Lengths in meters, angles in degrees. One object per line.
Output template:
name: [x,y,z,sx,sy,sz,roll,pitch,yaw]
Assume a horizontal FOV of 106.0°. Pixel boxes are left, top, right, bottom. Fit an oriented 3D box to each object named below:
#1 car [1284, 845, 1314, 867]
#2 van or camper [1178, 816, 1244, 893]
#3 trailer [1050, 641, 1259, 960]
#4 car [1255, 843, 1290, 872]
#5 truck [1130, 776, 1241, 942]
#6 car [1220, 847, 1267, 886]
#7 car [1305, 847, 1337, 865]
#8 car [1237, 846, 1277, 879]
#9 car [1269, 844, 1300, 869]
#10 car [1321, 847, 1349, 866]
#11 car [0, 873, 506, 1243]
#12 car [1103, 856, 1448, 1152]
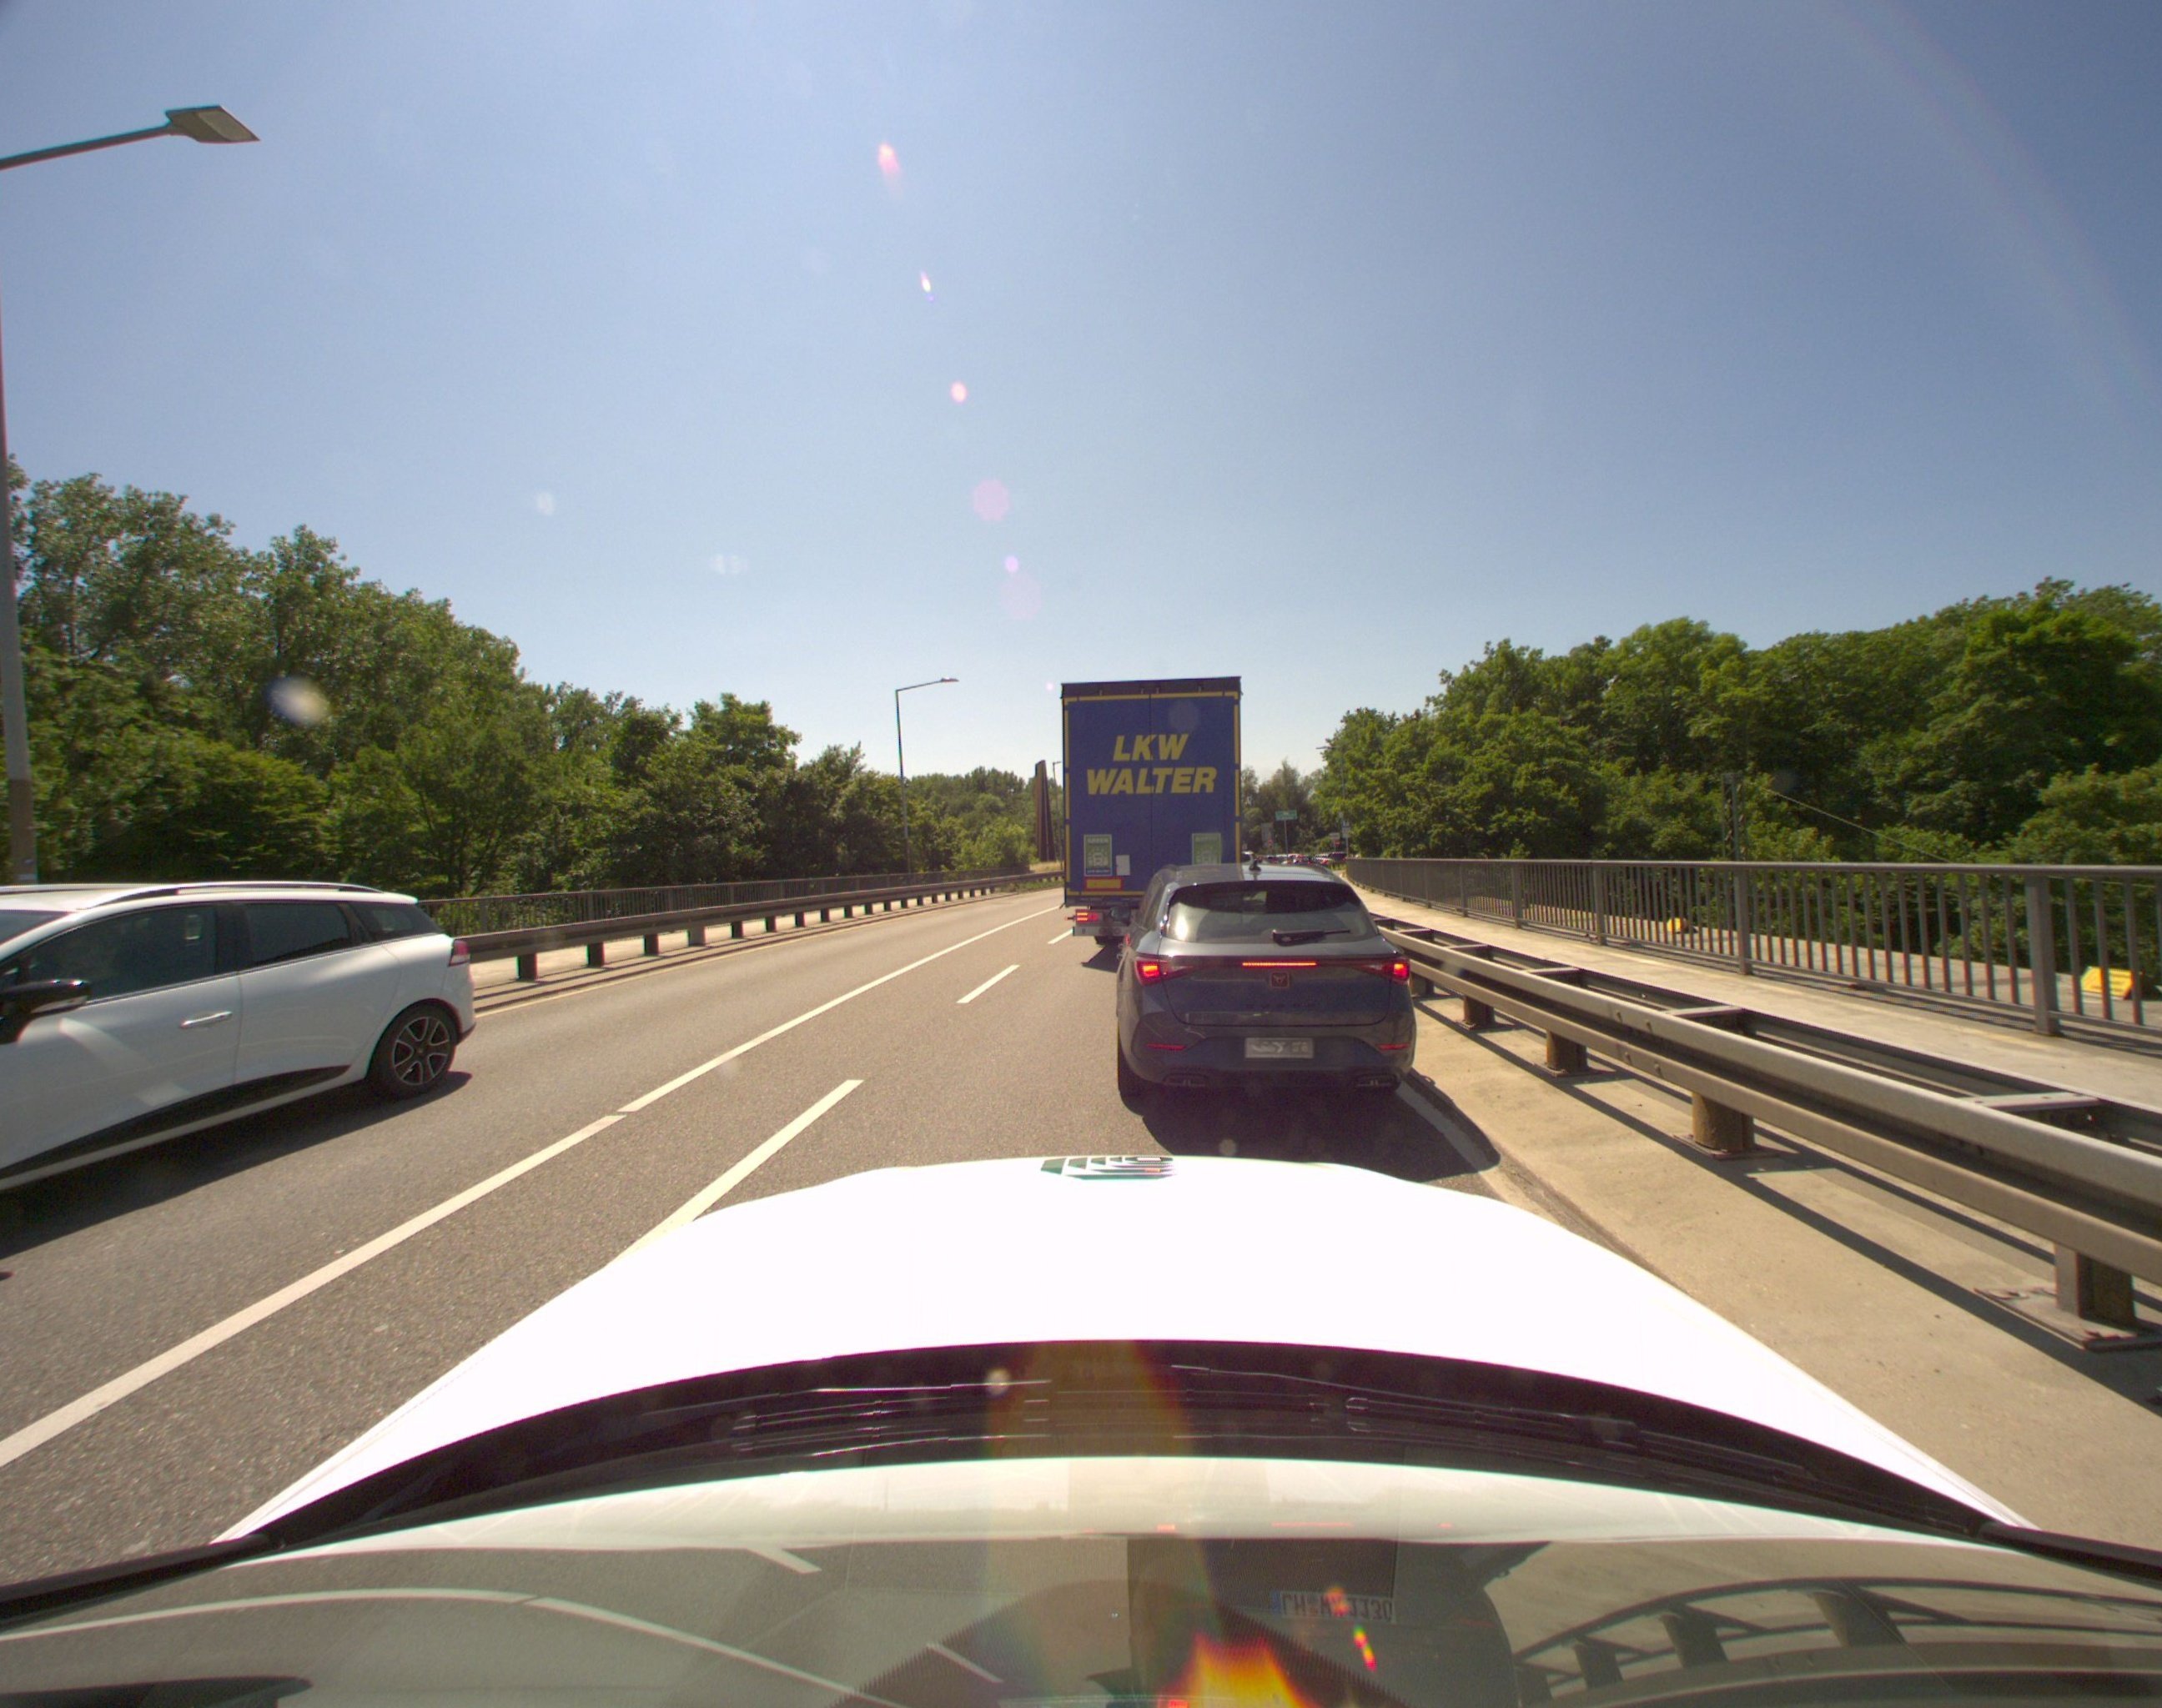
car: [18.214,0.193,67.884,1.670,1.760,4.023,-1,-1,25]
van or camper: [5.489,0.018,33.629,2.139,2.815,6.411,-1,0,14]
trailer: [2.051,-0.743,17.659,2.887,4.418,12.466,-1,0,10]
car: [12.987,0.234,55.021,1.706,1.844,4.021,-1,0,21]
truck: [3.337,0.142,25.107,2.887,4.418,6.573,-1,0,10]
car: [8.227,0.595,40.940,1.706,1.844,4.020,-1,0,20]
car: [21.851,0.196,74.034,1.975,1.575,4.024,0,-1,28]
car: [10.257,0.476,47.214,1.706,1.802,4.020,-1,0,20]
car: [15.350,0.162,61.297,1.706,1.844,4.021,-1,0,21]
car: [24.969,0.270,79.936,1.669,1.760,4.025,-2,-1,30]
car: [-5.169,0.875,4.066,1.593,1.449,4.057,-1,0,2]
car: [1.107,0.761,6.040,1.669,1.456,3.963,-1,0,4]
